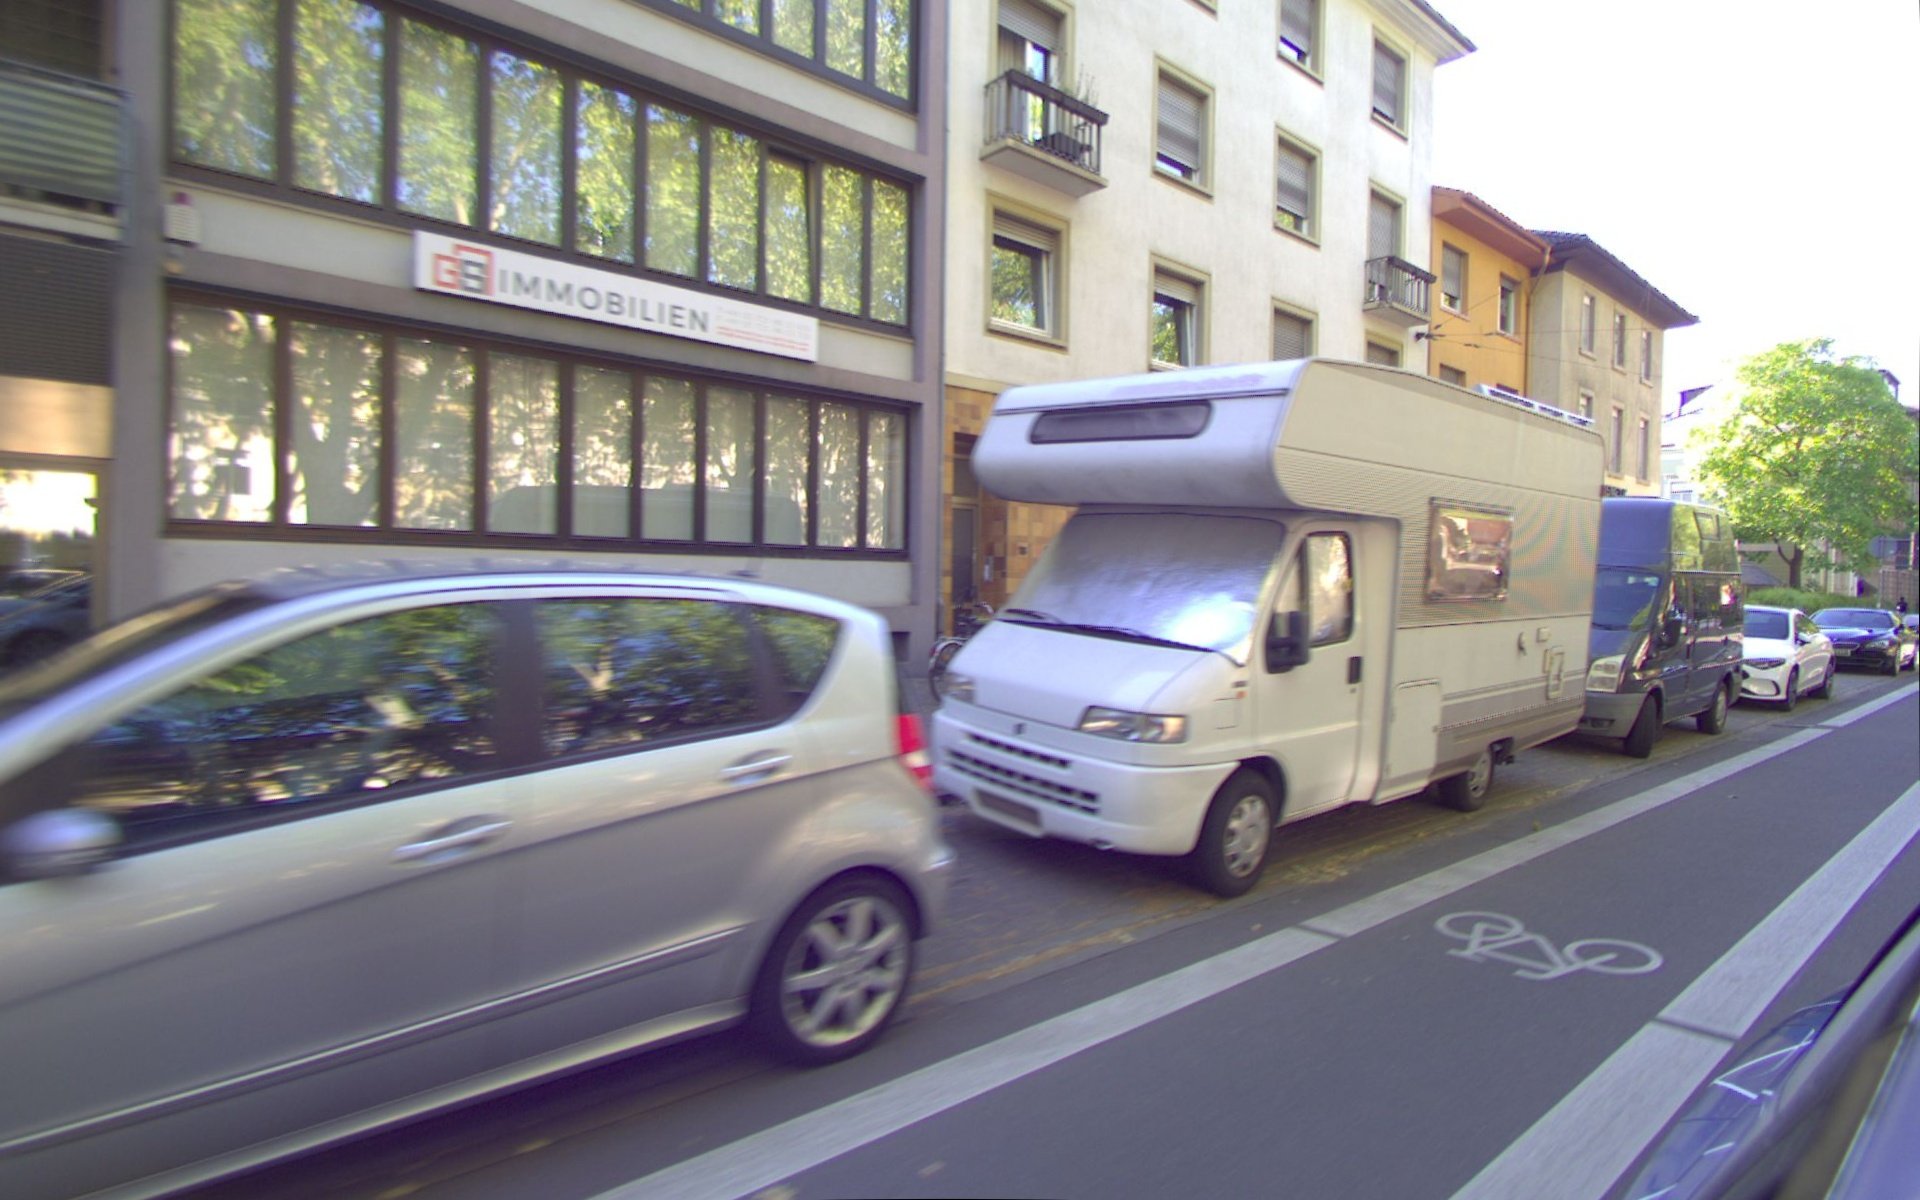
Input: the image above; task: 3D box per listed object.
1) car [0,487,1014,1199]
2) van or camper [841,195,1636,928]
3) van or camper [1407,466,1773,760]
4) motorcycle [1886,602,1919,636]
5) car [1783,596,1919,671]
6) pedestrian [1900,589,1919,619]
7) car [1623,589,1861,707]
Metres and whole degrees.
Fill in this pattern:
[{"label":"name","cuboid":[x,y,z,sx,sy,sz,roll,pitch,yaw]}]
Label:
[{"label":"car","cuboid":[-2.001,0.556,2.941,4.201,1.648,1.797,0,3,-41]},{"label":"van or camper","cuboid":[2.426,-0.225,7.272,6.160,3.101,2.467,0,3,-42]},{"label":"van or camper","cuboid":[7.416,0.058,11.697,4.892,2.695,2.137,0,3,-41]},{"label":"motorcycle","cuboid":[36.246,0.748,37.939,0.812,1.172,2.074,0,4,-36]},{"label":"car","cuboid":[20.141,0.662,22.538,4.656,1.397,1.998,0,3,-41]},{"label":"pedestrian","cuboid":[54.500,0.235,58.016,0.869,1.699,0.813,0,0,-41]},{"label":"car","cuboid":[12.470,0.645,16.031,4.655,1.511,1.998,0,3,-40]}]
